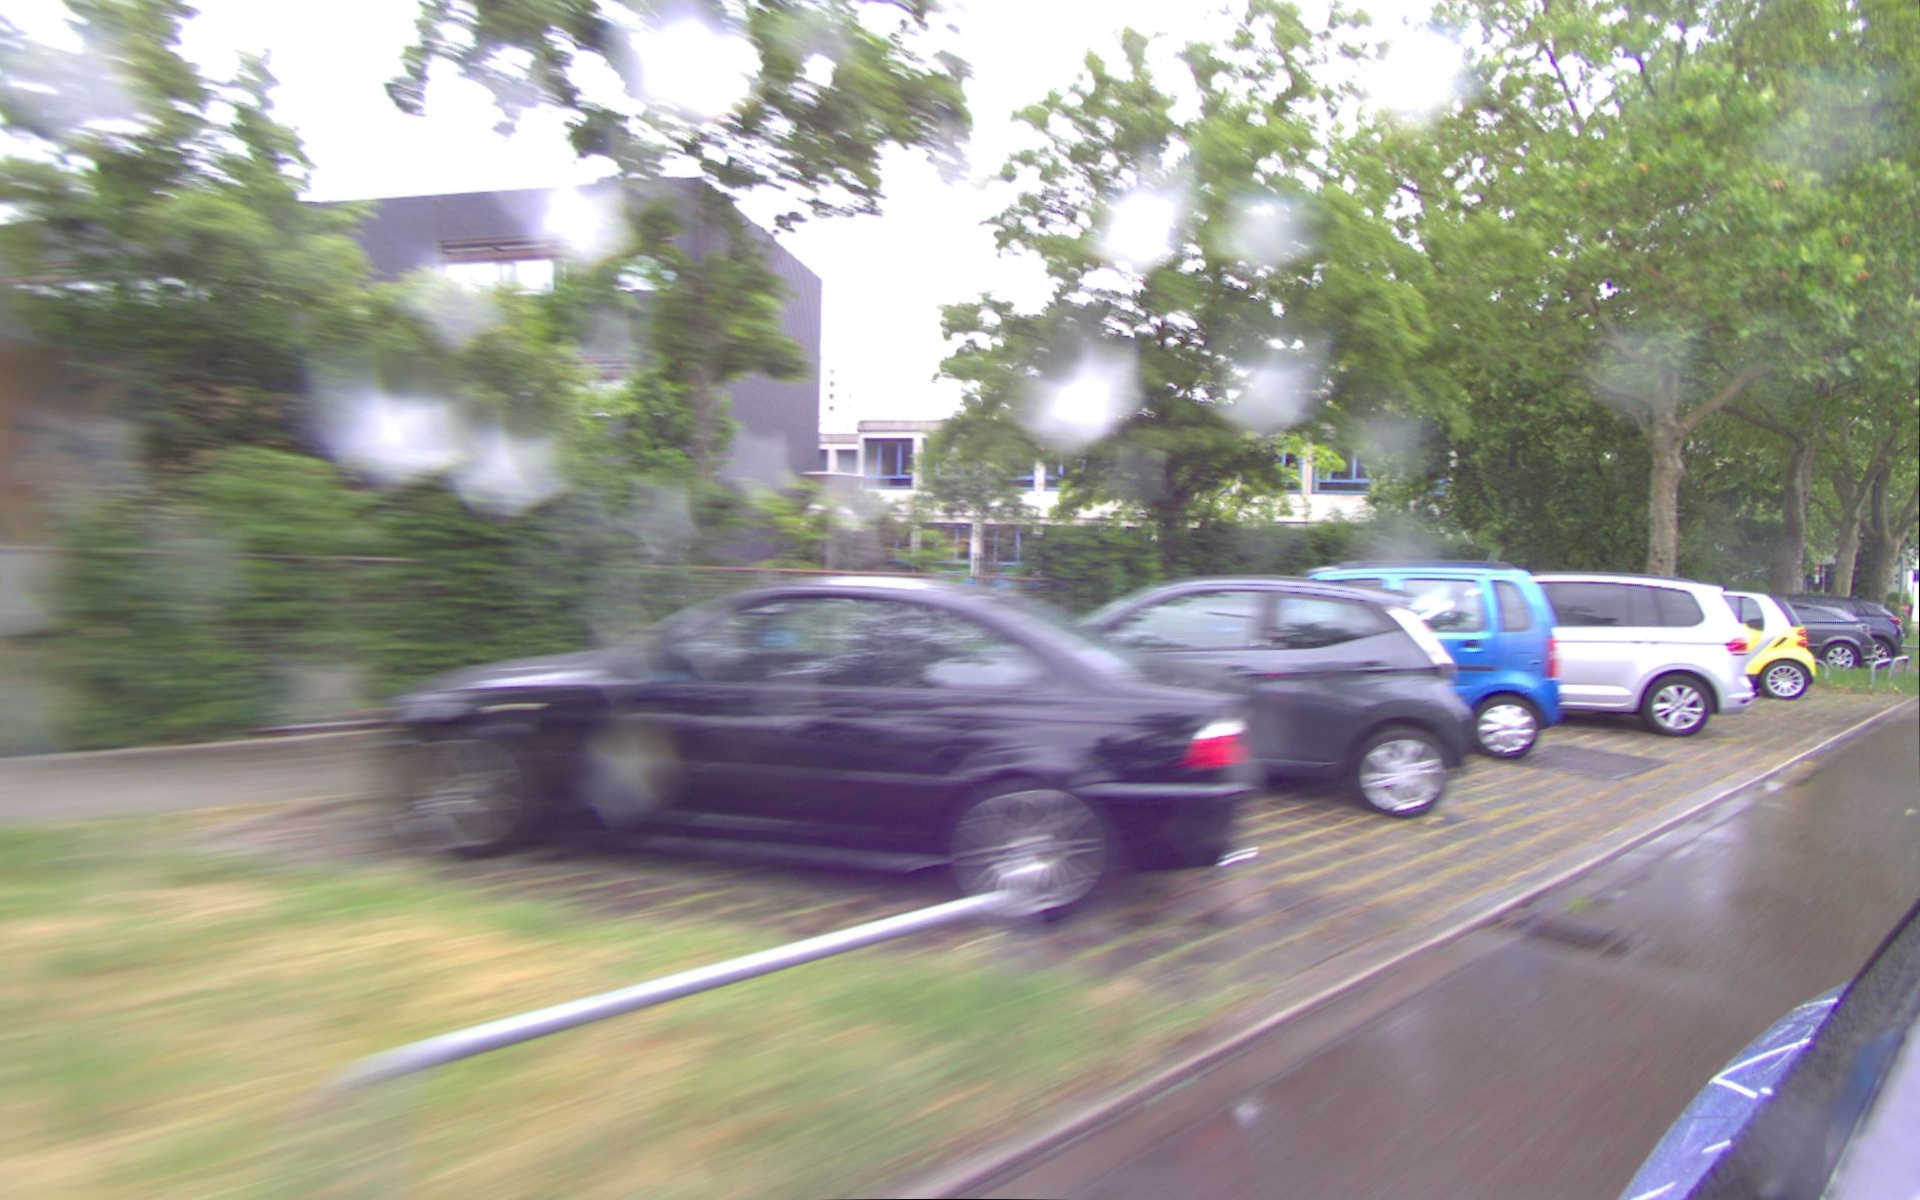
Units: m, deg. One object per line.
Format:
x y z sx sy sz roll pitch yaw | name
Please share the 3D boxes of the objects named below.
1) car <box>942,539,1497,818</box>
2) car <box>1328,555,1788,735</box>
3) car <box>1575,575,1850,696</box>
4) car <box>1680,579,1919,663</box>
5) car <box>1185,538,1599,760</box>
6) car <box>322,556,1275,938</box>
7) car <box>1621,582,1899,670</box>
1.732 0.412 7.360 3.353 1.536 1.844 3 3 12 | car
6.363 0.398 11.244 3.985 1.661 1.649 2 2 12 | car
11.113 0.457 15.185 2.870 1.484 1.593 4 3 21 | car
18.812 0.417 22.776 3.753 1.551 1.873 4 2 17 | car
3.846 0.347 9.532 3.229 1.691 1.586 3 3 16 | car
-0.733 0.541 5.181 4.236 1.401 1.736 2 1 10 | car
16.226 0.483 20.751 4.002 1.435 1.736 3 3 13 | car
